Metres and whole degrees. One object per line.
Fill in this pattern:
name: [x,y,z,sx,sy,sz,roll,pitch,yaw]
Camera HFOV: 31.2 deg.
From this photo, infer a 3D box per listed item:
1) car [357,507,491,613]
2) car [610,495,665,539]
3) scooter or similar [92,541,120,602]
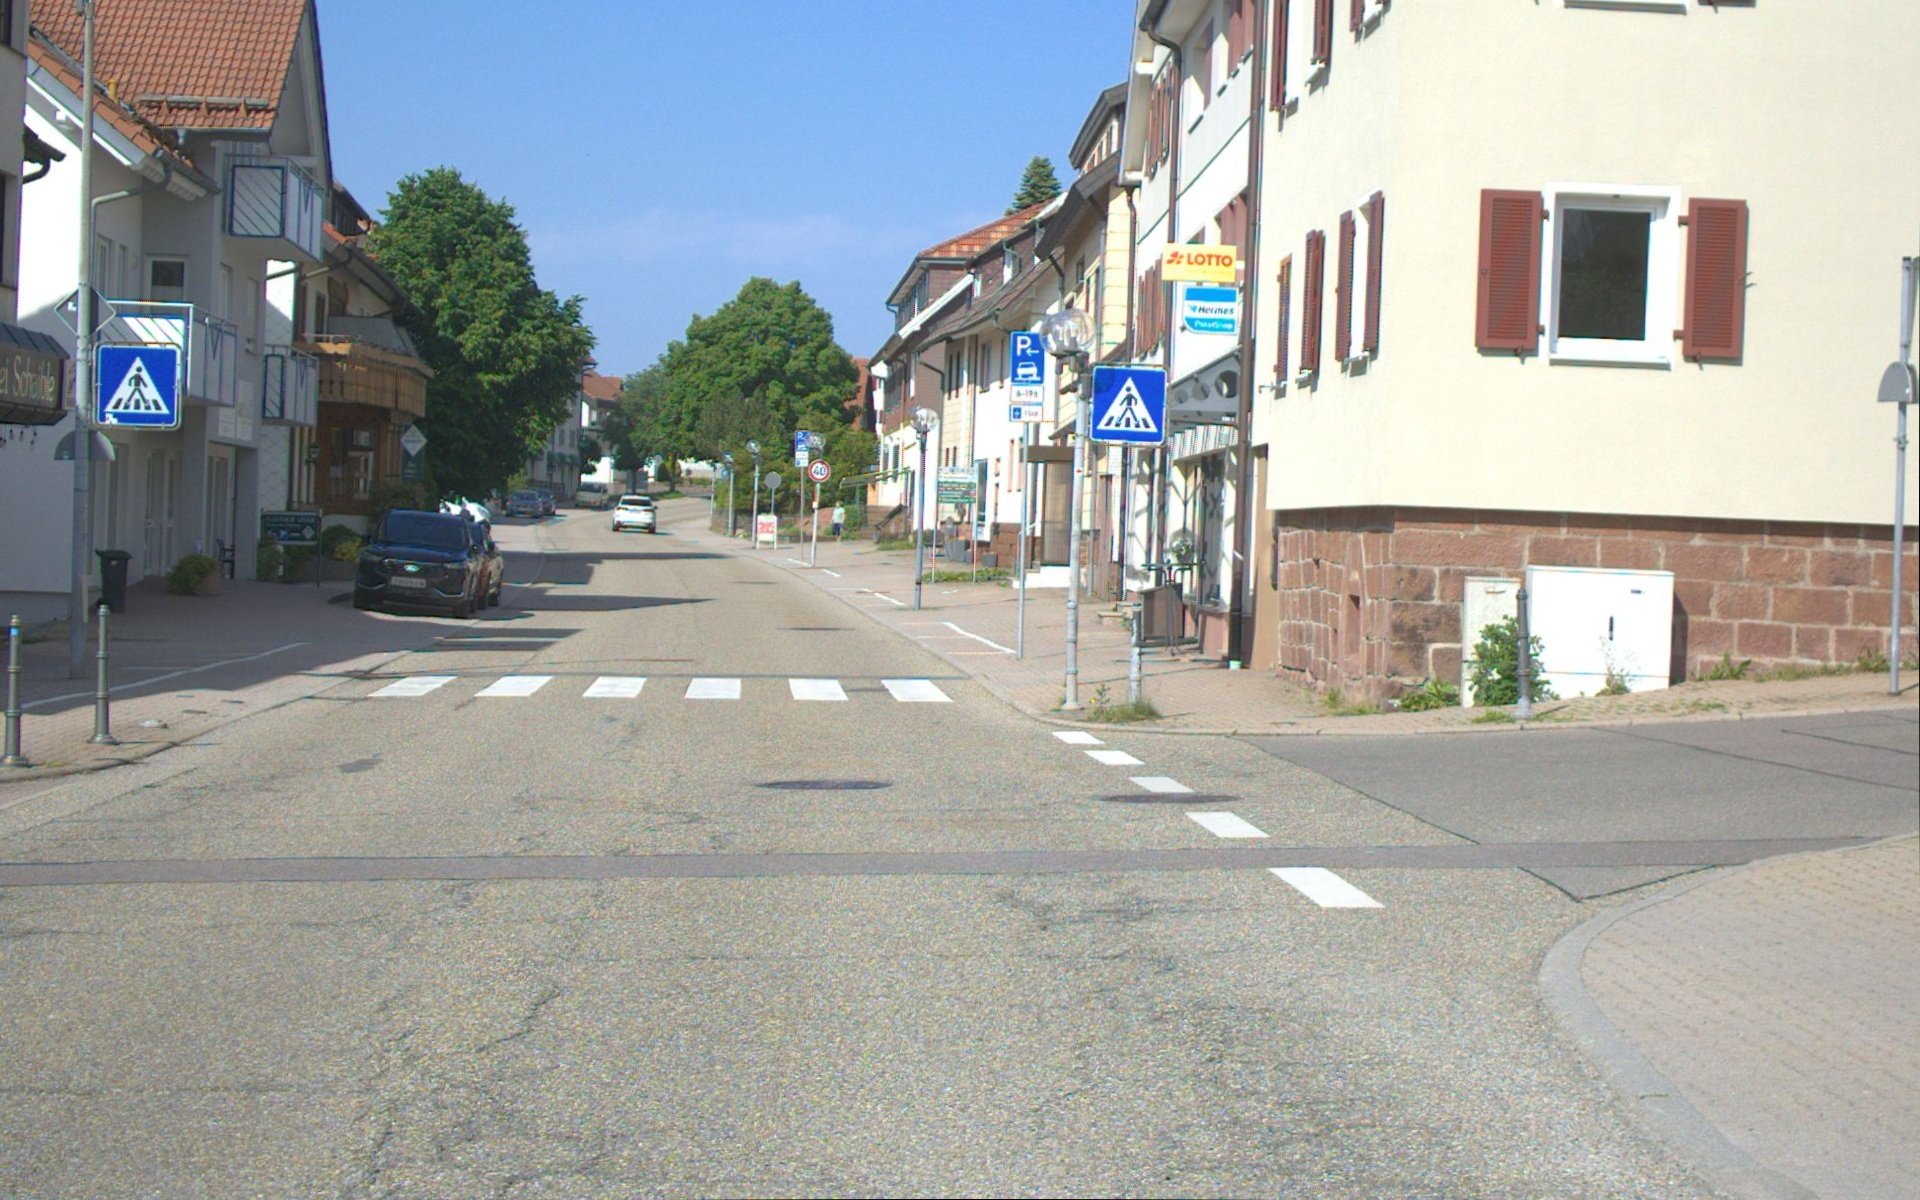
car: [-8.737,-0.679,56.266,1.672,1.528,3.536,5,1,-3]
car: [-15.177,-3.908,161.703,2.495,2.007,4.305,-1,1,-6]
scooter or similar: [-12.564,-0.420,50.576,0.351,0.887,0.395,-1,1,-9]
